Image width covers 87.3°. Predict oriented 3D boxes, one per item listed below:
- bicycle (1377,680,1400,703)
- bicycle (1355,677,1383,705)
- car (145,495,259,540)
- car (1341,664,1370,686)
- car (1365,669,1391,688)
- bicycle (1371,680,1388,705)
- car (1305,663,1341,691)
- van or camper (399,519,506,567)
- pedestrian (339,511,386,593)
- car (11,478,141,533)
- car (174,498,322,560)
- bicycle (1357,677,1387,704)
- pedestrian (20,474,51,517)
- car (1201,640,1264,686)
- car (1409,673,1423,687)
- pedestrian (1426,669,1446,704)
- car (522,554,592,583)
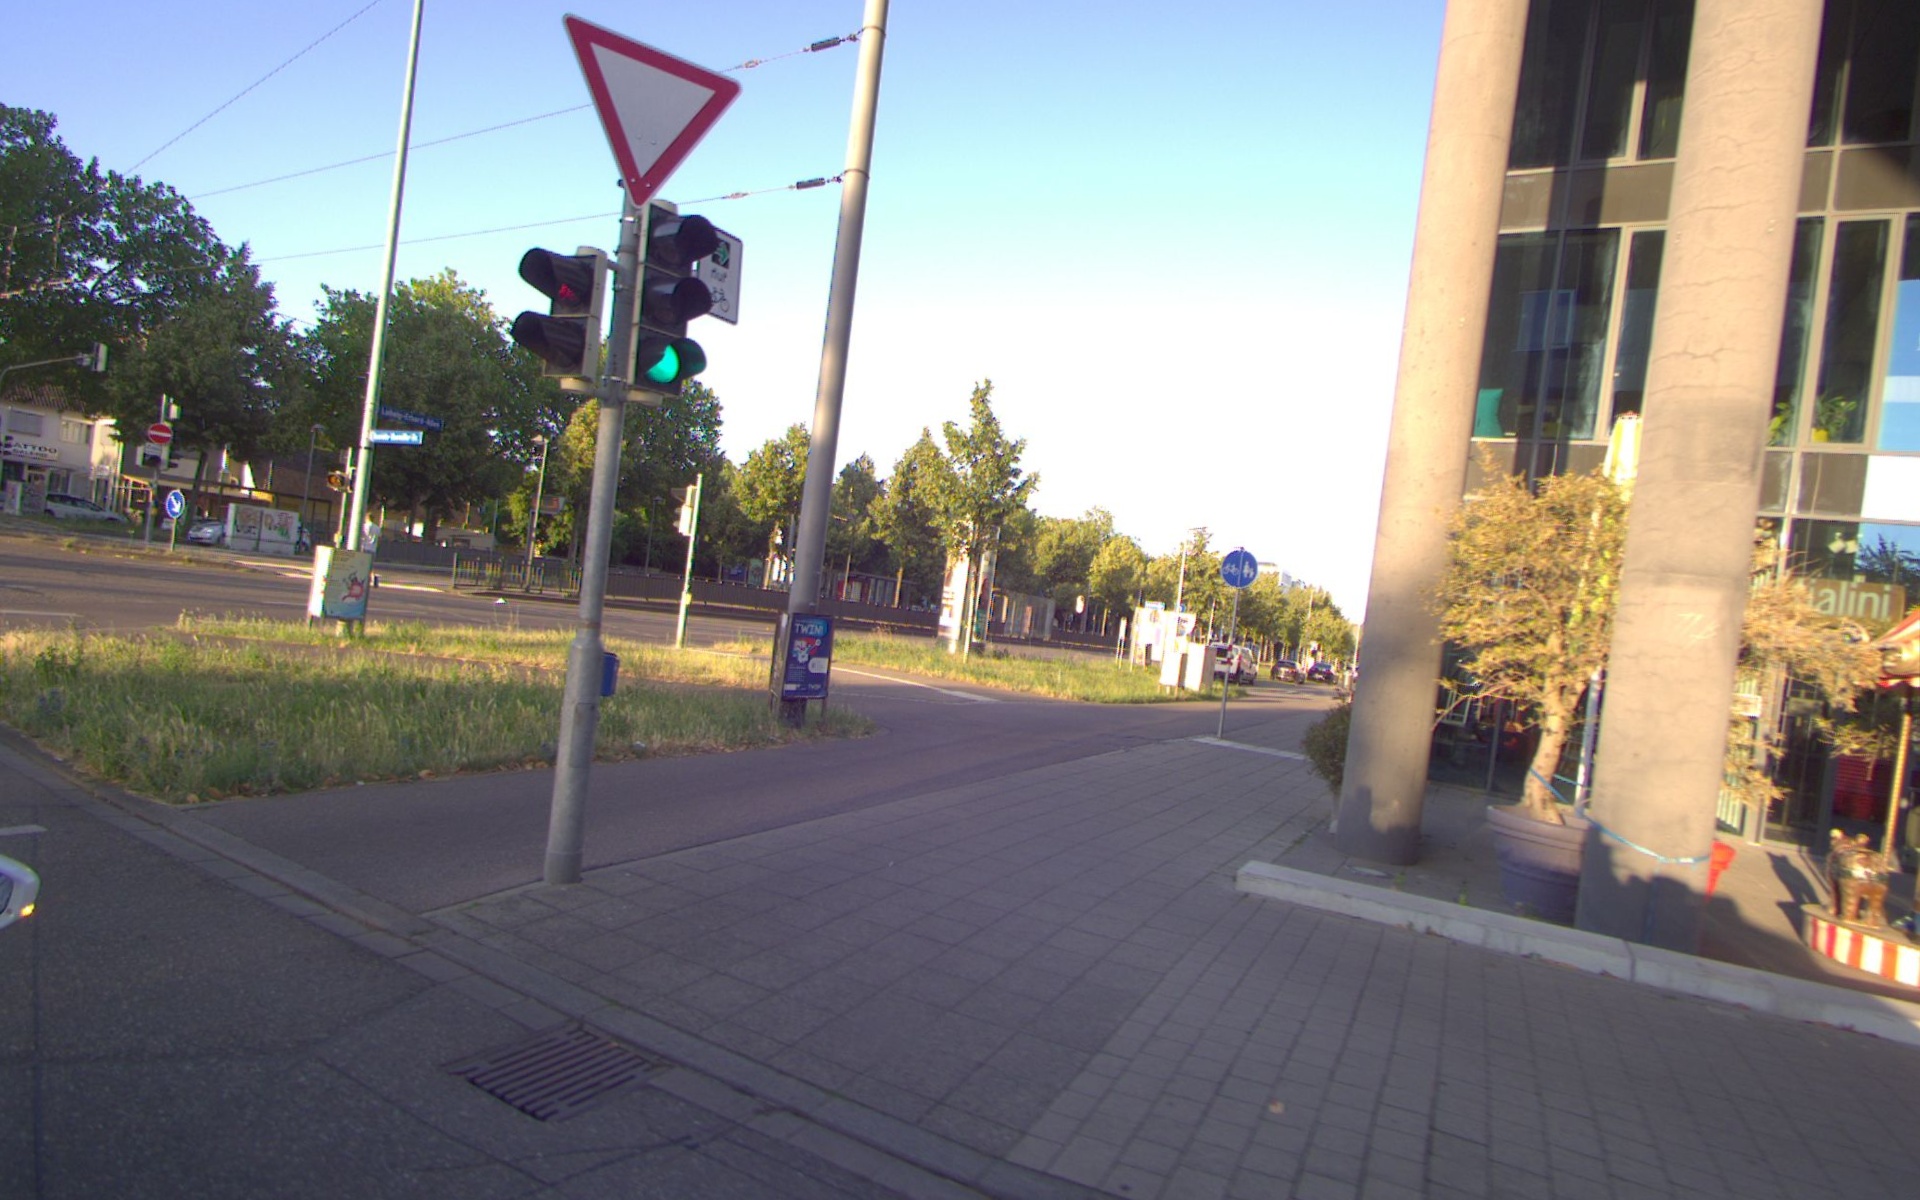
[{"bbox_3d":[21.639,4.622,50.778,0.626,1.080,2.118,8,0,32],"label":"bicycle"},{"bbox_3d":[17.339,3.869,42.620,0.535,1.081,2.000,8,0,35],"label":"bicycle"},{"bbox_3d":[-39.543,-4.277,52.601,1.967,1.596,4.236,7,-1,32],"label":"car"},{"bbox_3d":[38.773,7.368,98.534,1.965,1.717,4.411,10,0,27],"label":"car"},{"bbox_3d":[49.388,9.277,118.782,2.001,1.717,4.390,10,1,31],"label":"car"},{"bbox_3d":[19.956,4.385,47.881,0.625,1.080,2.123,7,-1,22],"label":"bicycle"},{"bbox_3d":[28.275,5.998,78.281,1.964,1.717,4.591,10,0,26],"label":"car"},{"bbox_3d":[-36.789,-4.105,73.126,2.228,2.438,6.571,7,-1,34],"label":"van or camper"},{"bbox_3d":[-14.278,-1.143,24.059,0.756,1.812,0.796,8,-1,-30],"label":"pedestrian"},{"bbox_3d":[-42.558,-4.508,48.519,1.967,1.868,4.236,7,-1,32],"label":"car"},{"bbox_3d":[-29.146,-2.870,41.351,1.828,1.748,4.547,7,-1,26],"label":"car"},{"bbox_3d":[18.663,4.116,45.534,0.626,1.081,2.116,8,0,37],"label":"bicycle"},{"bbox_3d":[-40.240,-4.536,43.803,0.714,1.775,0.888,7,0,-36],"label":"pedestrian"},{"bbox_3d":[13.682,3.179,50.285,1.825,1.849,4.390,10,0,29],"label":"car"},{"bbox_3d":[81.847,14.362,180.451,1.965,2.038,3.997,8,0,27],"label":"car"},{"bbox_3d":[29.922,5.447,63.185,0.801,2.115,1.111,7,0,30],"label":"pedestrian"},{"bbox_3d":[-28.959,-2.257,72.445,1.967,1.482,4.236,7,-1,32],"label":"car"}]
